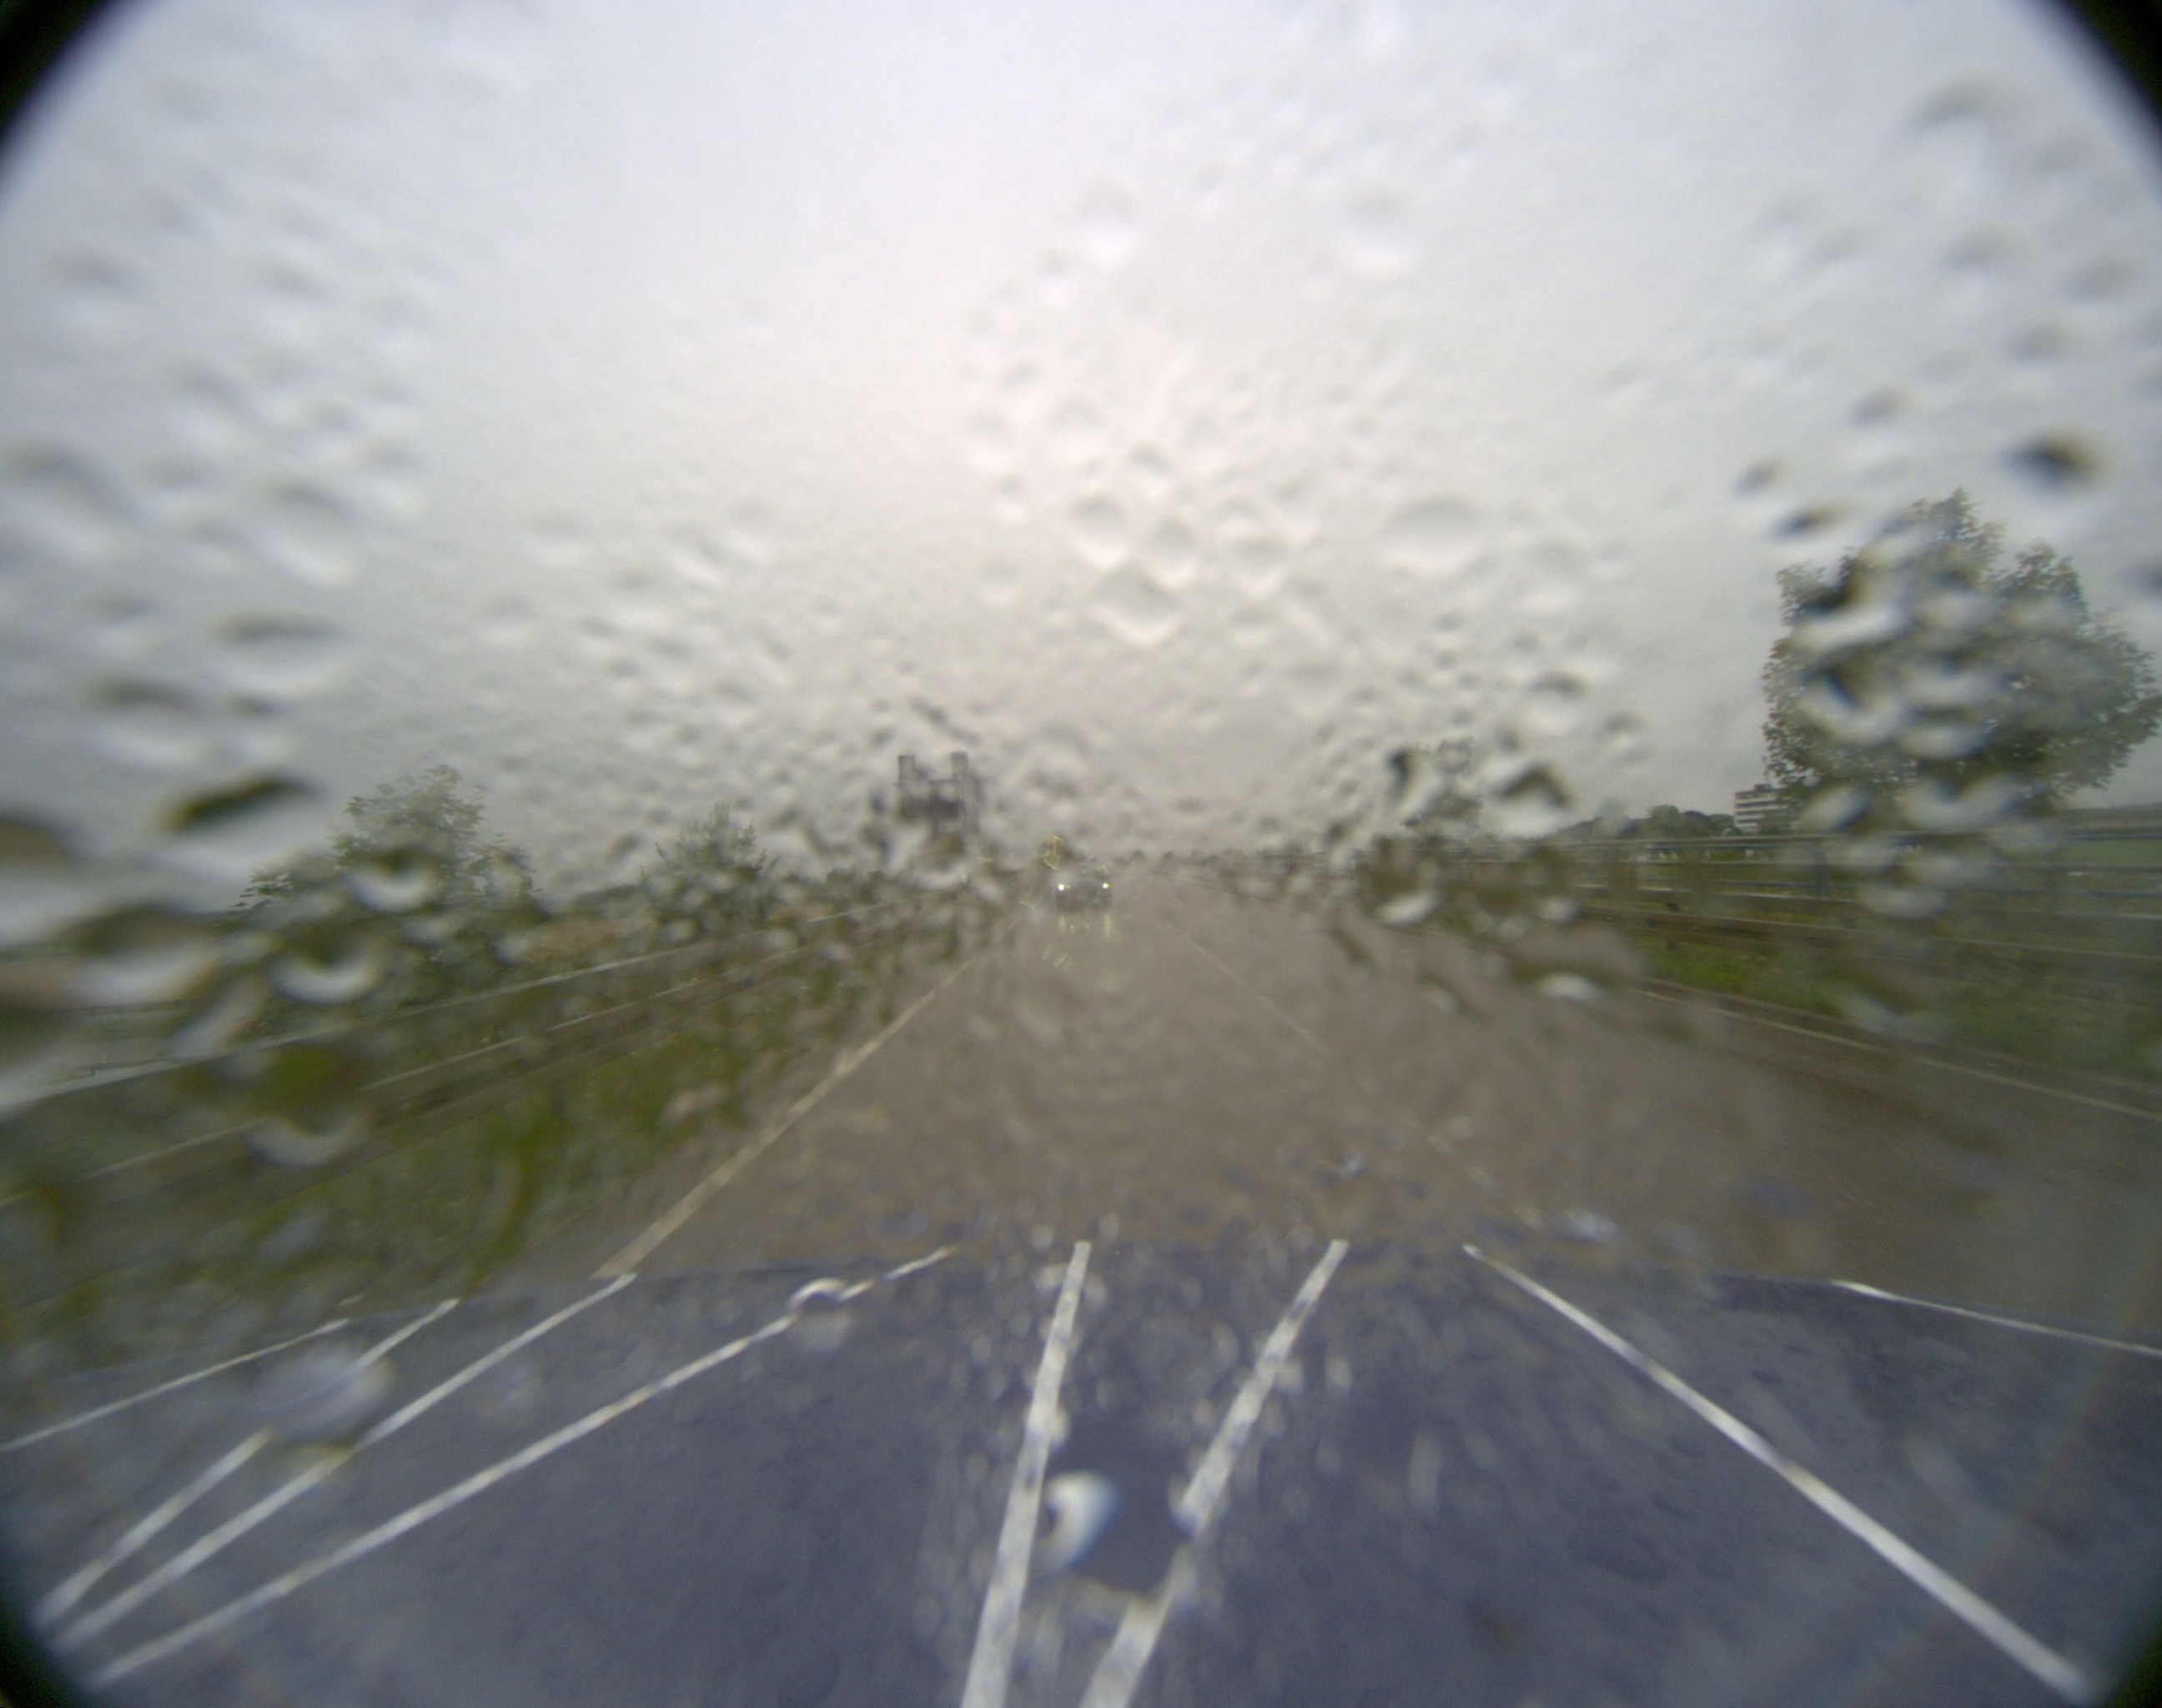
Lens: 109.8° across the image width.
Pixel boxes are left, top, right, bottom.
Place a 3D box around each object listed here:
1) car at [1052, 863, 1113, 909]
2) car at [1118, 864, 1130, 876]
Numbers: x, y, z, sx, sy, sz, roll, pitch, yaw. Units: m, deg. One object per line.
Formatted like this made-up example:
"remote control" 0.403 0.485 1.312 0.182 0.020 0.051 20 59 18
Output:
"car" 0.135 1.046 26.577 1.909 1.361 4.566 -2 0 2
"car" 7.767 2.843 137.543 1.909 1.930 4.565 -3 0 2
